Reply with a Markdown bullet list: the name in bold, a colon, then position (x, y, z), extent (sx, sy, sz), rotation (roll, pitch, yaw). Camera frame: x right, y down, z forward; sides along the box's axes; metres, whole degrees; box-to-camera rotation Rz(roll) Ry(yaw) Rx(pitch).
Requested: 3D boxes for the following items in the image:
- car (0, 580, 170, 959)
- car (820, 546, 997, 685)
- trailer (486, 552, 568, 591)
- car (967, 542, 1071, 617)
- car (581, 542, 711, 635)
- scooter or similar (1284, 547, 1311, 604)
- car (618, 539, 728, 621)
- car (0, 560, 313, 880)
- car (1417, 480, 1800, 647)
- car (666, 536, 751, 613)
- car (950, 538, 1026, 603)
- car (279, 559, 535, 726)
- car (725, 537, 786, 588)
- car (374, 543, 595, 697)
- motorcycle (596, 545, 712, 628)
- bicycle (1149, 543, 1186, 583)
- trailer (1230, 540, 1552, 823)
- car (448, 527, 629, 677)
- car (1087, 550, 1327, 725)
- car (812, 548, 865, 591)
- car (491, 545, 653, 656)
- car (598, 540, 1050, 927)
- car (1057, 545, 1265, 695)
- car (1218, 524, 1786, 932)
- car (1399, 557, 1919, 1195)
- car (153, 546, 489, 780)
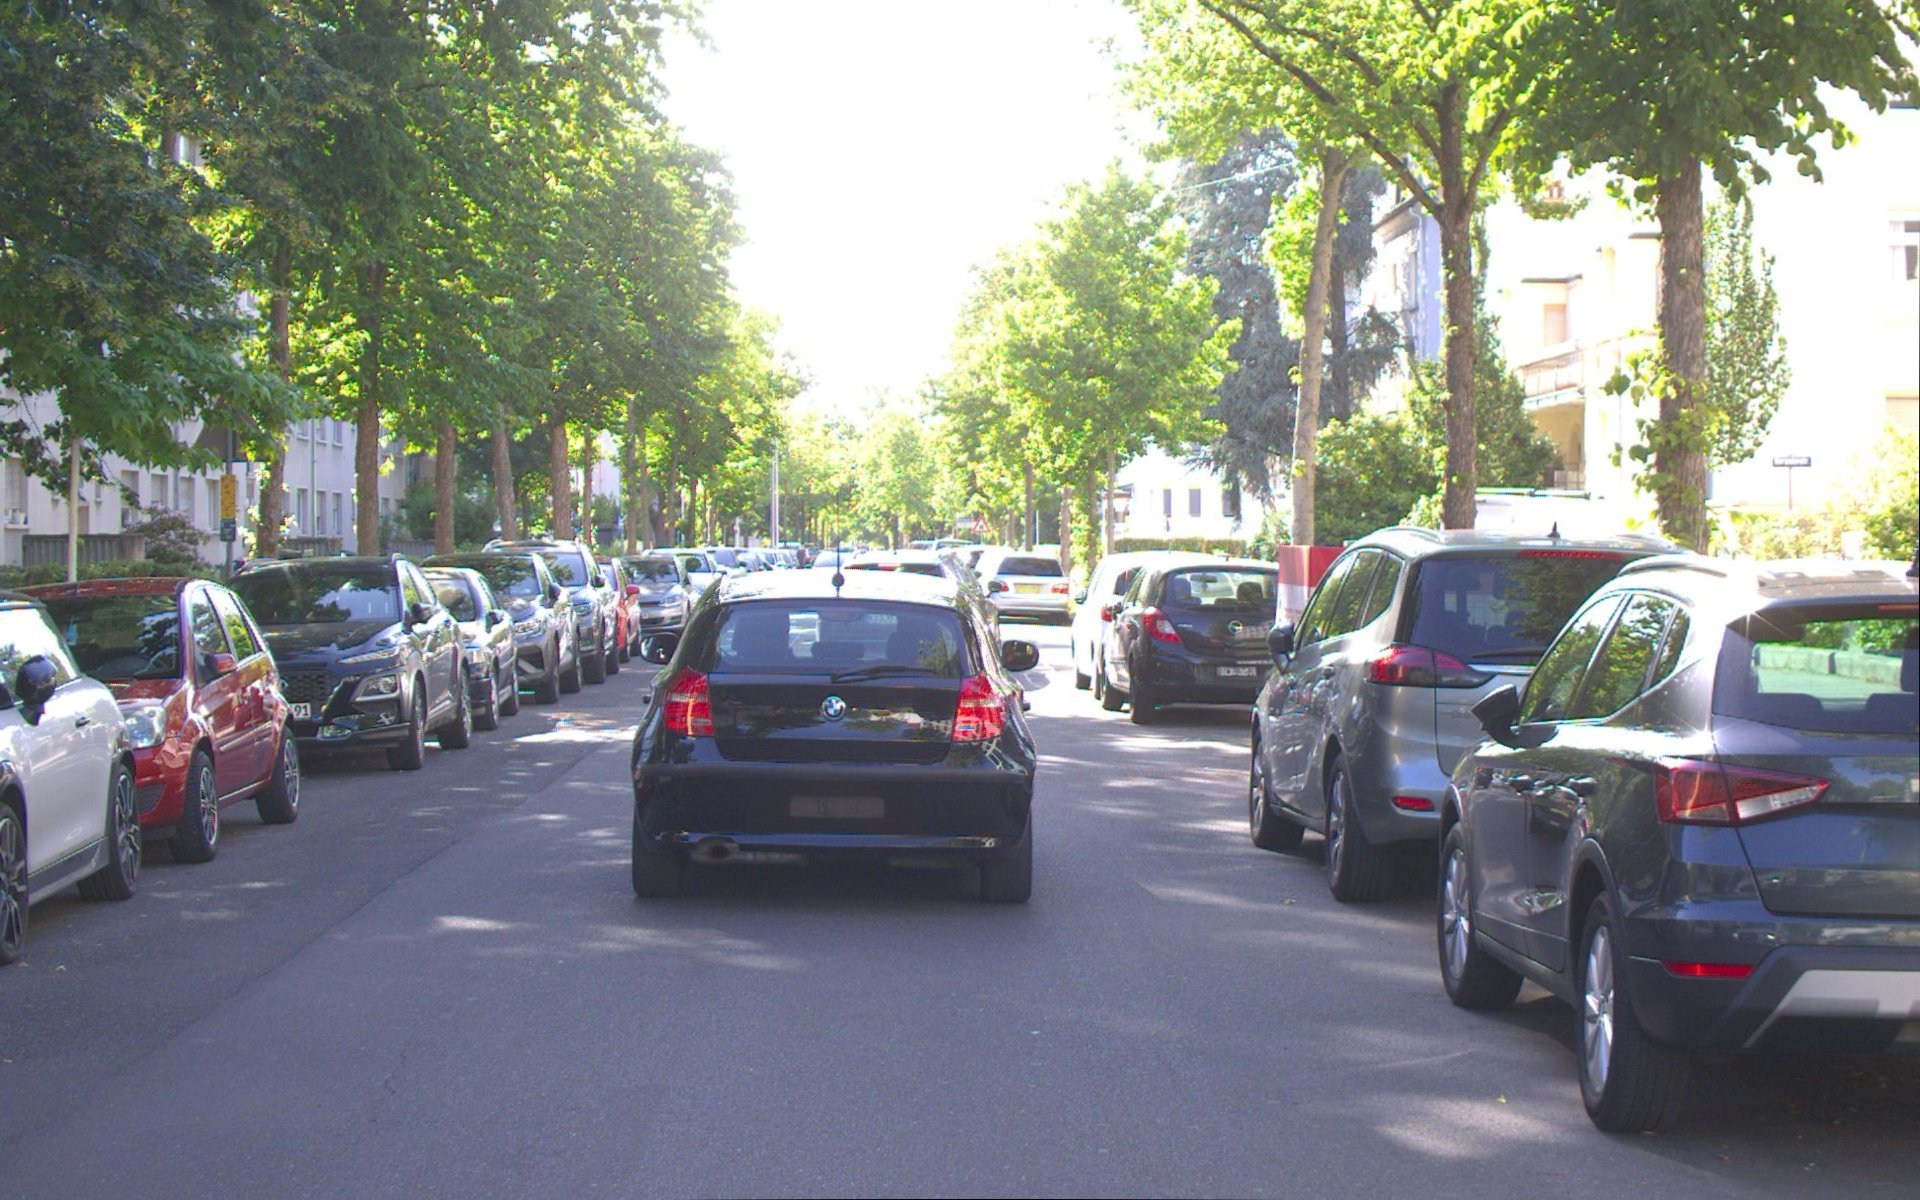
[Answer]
- **car**: position (-4.467, 0.641, 14.082), extent (1.654, 1.368, 4.190), rotation (-1, 1, -3)
- **car**: position (-0.669, 0.166, 40.406), extent (1.895, 1.519, 4.968), rotation (0, 0, -3)
- **trailer**: position (-11.772, -0.796, 93.689), extent (1.789, 1.030, 3.281), rotation (0, 1, 1)
- **car**: position (1.206, -0.451, 72.000), extent (1.821, 1.464, 4.910), rotation (1, 1, -3)
- **car**: position (-5.381, -0.231, 59.396), extent (2.042, 1.519, 4.607), rotation (0, 1, -3)
- **scooter or similar**: position (7.187, -0.526, 73.220), extent (0.402, 1.181, 1.205), rotation (0, 2, 14)
- **car**: position (-5.597, -0.424, 67.319), extent (2.063, 1.519, 4.723), rotation (0, 1, -4)
- **car**: position (-4.625, 0.560, 18.553), extent (1.654, 1.499, 4.069), rotation (-1, 1, -3)
- **car**: position (9.324, -0.558, 49.434), extent (5.039, 2.298, 2.235), rotation (-1, 1, -24)
- **car**: position (-5.756, -0.604, 79.068), extent (1.728, 1.612, 4.367), rotation (-4, 1, -2)
- **car**: position (0.734, -0.821, 92.292), extent (1.926, 1.646, 5.095), rotation (2, 1, 0)
- **car**: position (-4.918, 0.331, 31.103), extent (1.784, 1.348, 4.482), rotation (-1, 1, -3)
- **car**: position (-6.630, -1.236, 111.762), extent (1.811, 1.590, 4.233), rotation (-1, 1, -2)
- **car**: position (-4.983, 0.165, 36.531), extent (1.769, 1.526, 4.420), rotation (0, 1, -1)
- **motorcycle**: position (-5.648, -0.253, 63.342), extent (0.987, 1.498, 2.233), rotation (-2, 1, -41)
- **bicycle**: position (6.621, -1.194, 109.605), extent (0.838, 1.253, 2.232), rotation (0, 1, -5)
- **trailer**: position (2.611, 0.444, 21.430), extent (1.574, 1.573, 3.192), rotation (2, 1, 1)
- **car**: position (-5.057, -0.019, 41.765), extent (1.767, 1.682, 4.815), rotation (-1, 1, -2)
- **car**: position (2.210, 0.295, 31.729), extent (1.670, 1.445, 4.179), rotation (2, 1, -3)
- **car**: position (-4.300, -1.092, 121.528), extent (1.809, 1.441, 4.367), rotation (-2, 1, -2)
- **car**: position (-5.367, -0.030, 48.021), extent (1.856, 1.464, 4.182), rotation (0, 1, -1)
- **car**: position (-0.638, 0.500, 15.777), extent (1.782, 1.518, 4.001), rotation (-1, 1, -3)
- **car**: position (2.062, 0.165, 36.297), extent (1.732, 1.482, 4.010), rotation (0, 1, -3)
- **car**: position (2.429, 0.491, 16.659), extent (1.792, 1.637, 4.819), rotation (2, 1, -2)
- **car**: position (2.504, 0.646, 10.484), extent (1.718, 1.511, 4.345), rotation (1, 1, -1)
- **car**: position (-4.700, 0.399, 25.893), extent (1.706, 1.571, 4.482), rotation (-1, 1, 0)
